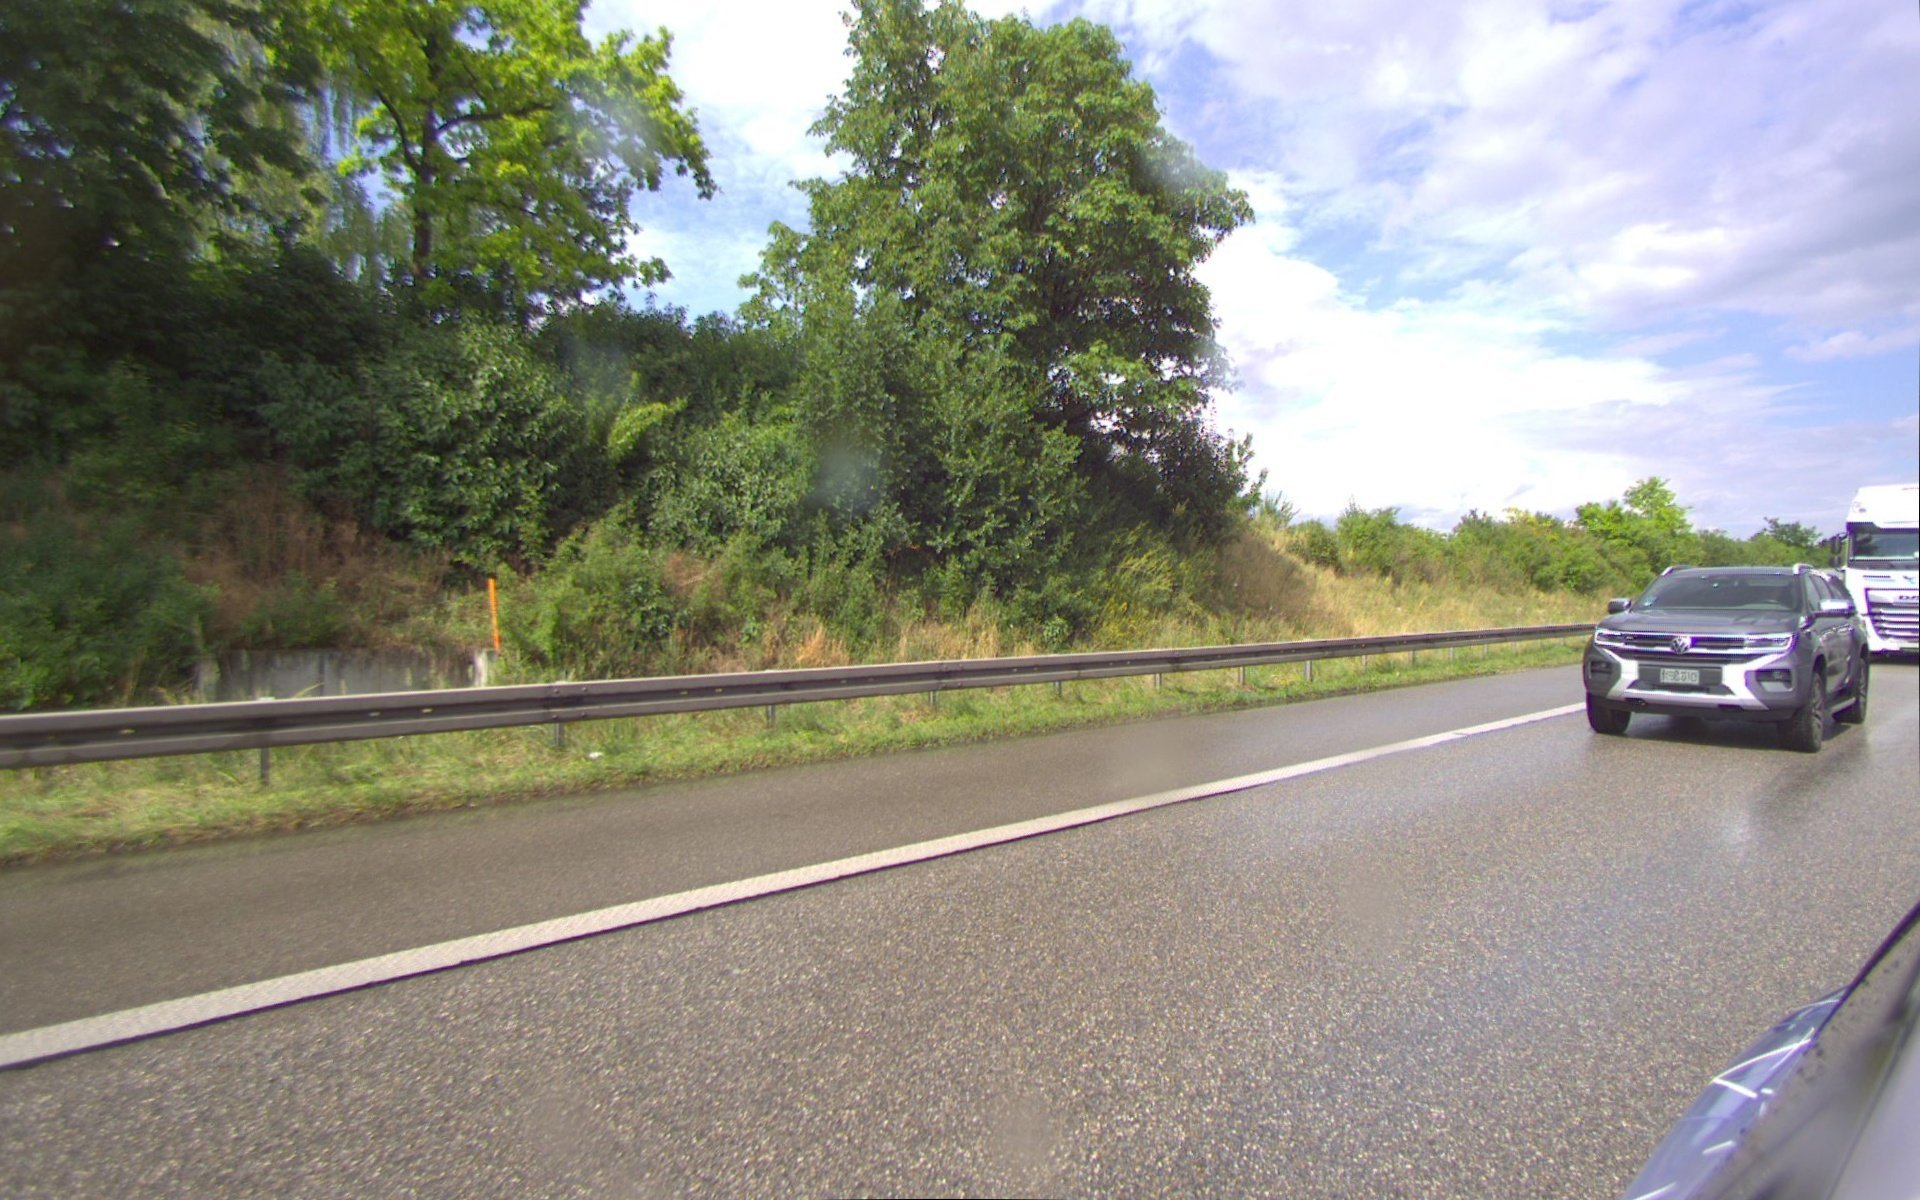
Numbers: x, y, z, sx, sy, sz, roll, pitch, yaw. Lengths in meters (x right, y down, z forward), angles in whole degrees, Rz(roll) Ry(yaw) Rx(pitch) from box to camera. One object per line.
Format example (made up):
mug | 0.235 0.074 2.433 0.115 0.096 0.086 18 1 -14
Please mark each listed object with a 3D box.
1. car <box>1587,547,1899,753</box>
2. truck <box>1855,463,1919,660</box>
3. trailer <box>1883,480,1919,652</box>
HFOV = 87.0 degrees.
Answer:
car | 8.971 0.412 11.386 5.213 1.826 1.830 0 1 -41
truck | 22.367 -0.810 22.978 5.240 4.156 2.458 0 0 -41
trailer | 28.136 -0.870 28.090 12.005 4.171 2.448 -1 0 -41
